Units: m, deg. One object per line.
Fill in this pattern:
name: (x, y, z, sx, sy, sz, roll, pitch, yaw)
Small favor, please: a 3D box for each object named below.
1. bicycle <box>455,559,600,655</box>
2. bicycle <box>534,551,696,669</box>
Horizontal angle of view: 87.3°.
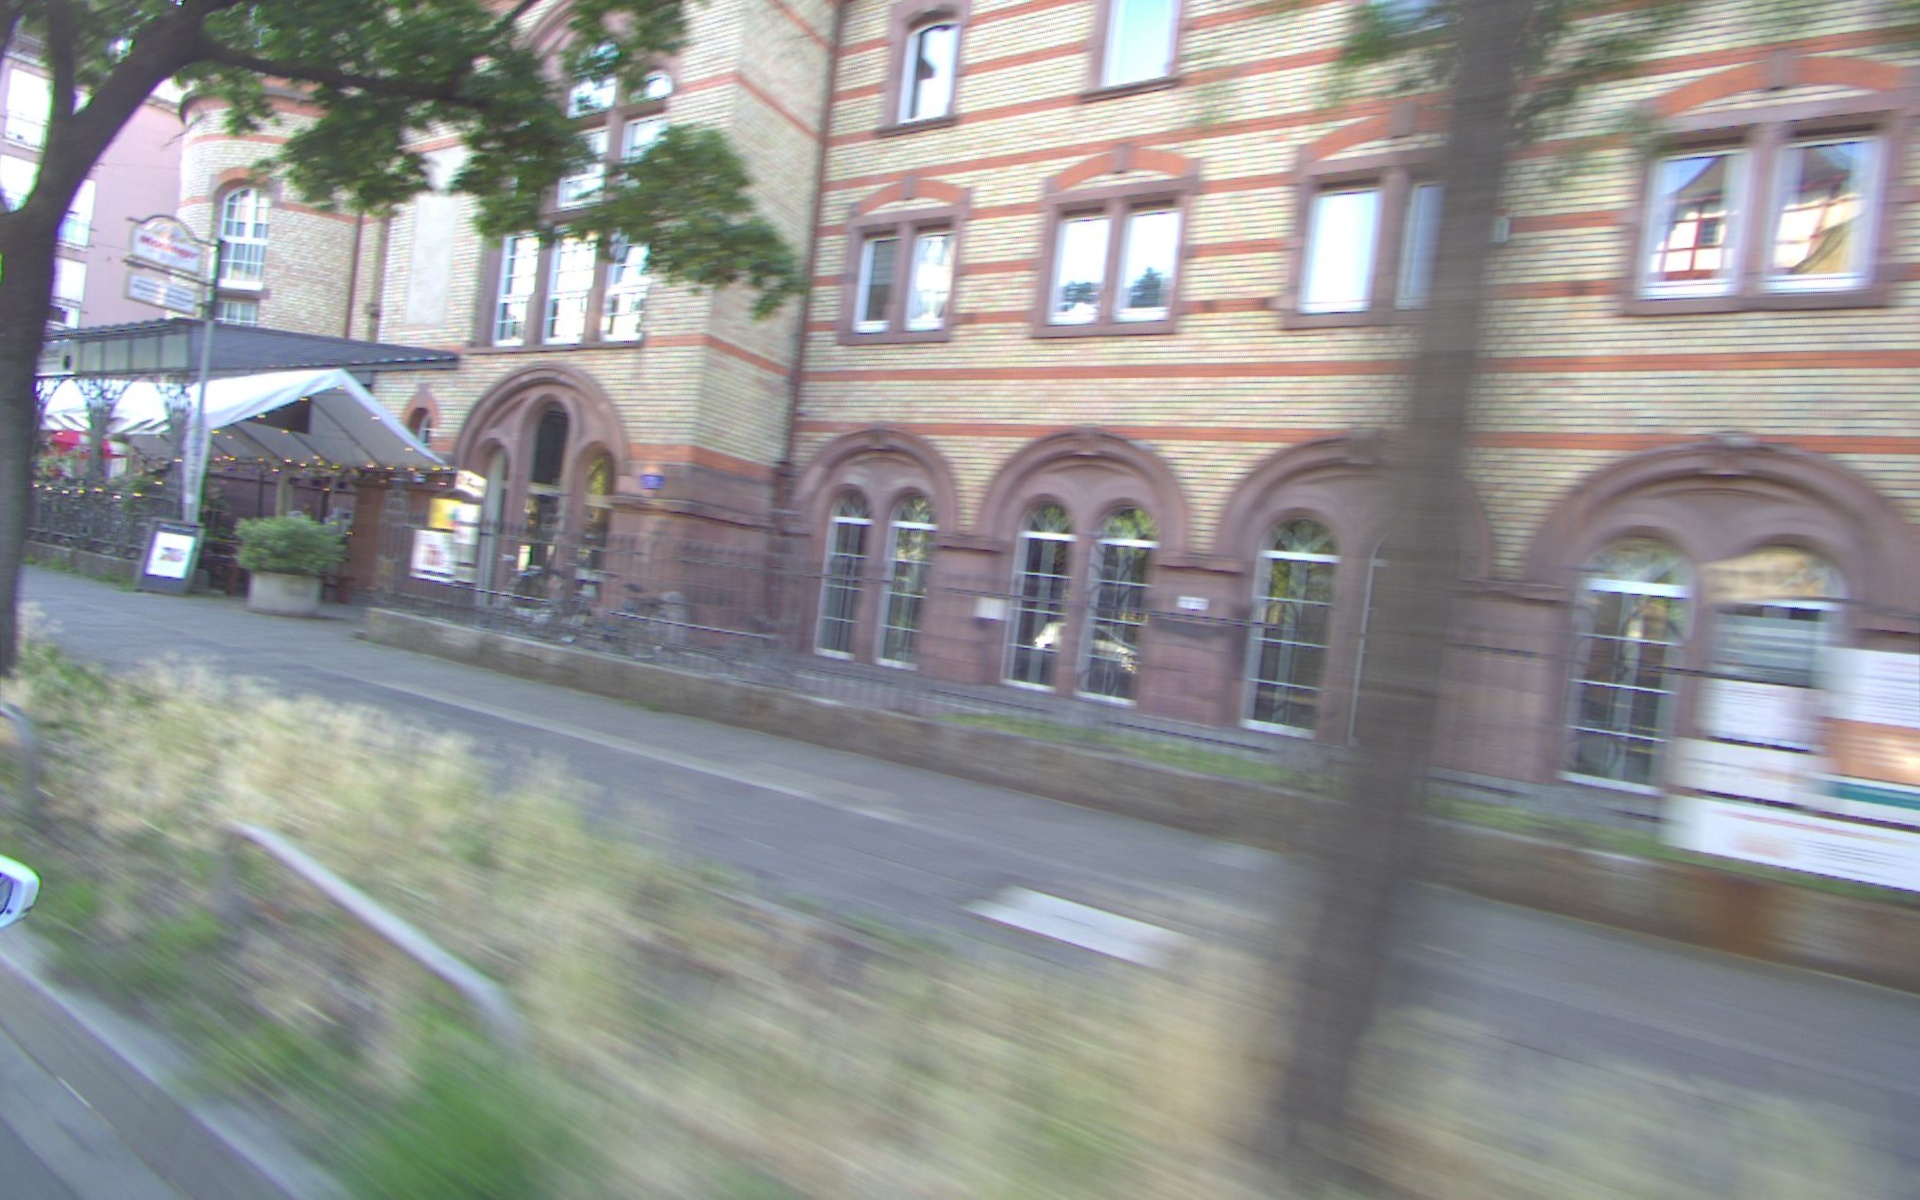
bicycle: (-5.141, 0.109, 12.033, 0.526, 0.957, 1.448, 7, -2, 32)
bicycle: (-3.939, 0.151, 11.631, 0.485, 1.150, 1.737, 7, -2, 32)
